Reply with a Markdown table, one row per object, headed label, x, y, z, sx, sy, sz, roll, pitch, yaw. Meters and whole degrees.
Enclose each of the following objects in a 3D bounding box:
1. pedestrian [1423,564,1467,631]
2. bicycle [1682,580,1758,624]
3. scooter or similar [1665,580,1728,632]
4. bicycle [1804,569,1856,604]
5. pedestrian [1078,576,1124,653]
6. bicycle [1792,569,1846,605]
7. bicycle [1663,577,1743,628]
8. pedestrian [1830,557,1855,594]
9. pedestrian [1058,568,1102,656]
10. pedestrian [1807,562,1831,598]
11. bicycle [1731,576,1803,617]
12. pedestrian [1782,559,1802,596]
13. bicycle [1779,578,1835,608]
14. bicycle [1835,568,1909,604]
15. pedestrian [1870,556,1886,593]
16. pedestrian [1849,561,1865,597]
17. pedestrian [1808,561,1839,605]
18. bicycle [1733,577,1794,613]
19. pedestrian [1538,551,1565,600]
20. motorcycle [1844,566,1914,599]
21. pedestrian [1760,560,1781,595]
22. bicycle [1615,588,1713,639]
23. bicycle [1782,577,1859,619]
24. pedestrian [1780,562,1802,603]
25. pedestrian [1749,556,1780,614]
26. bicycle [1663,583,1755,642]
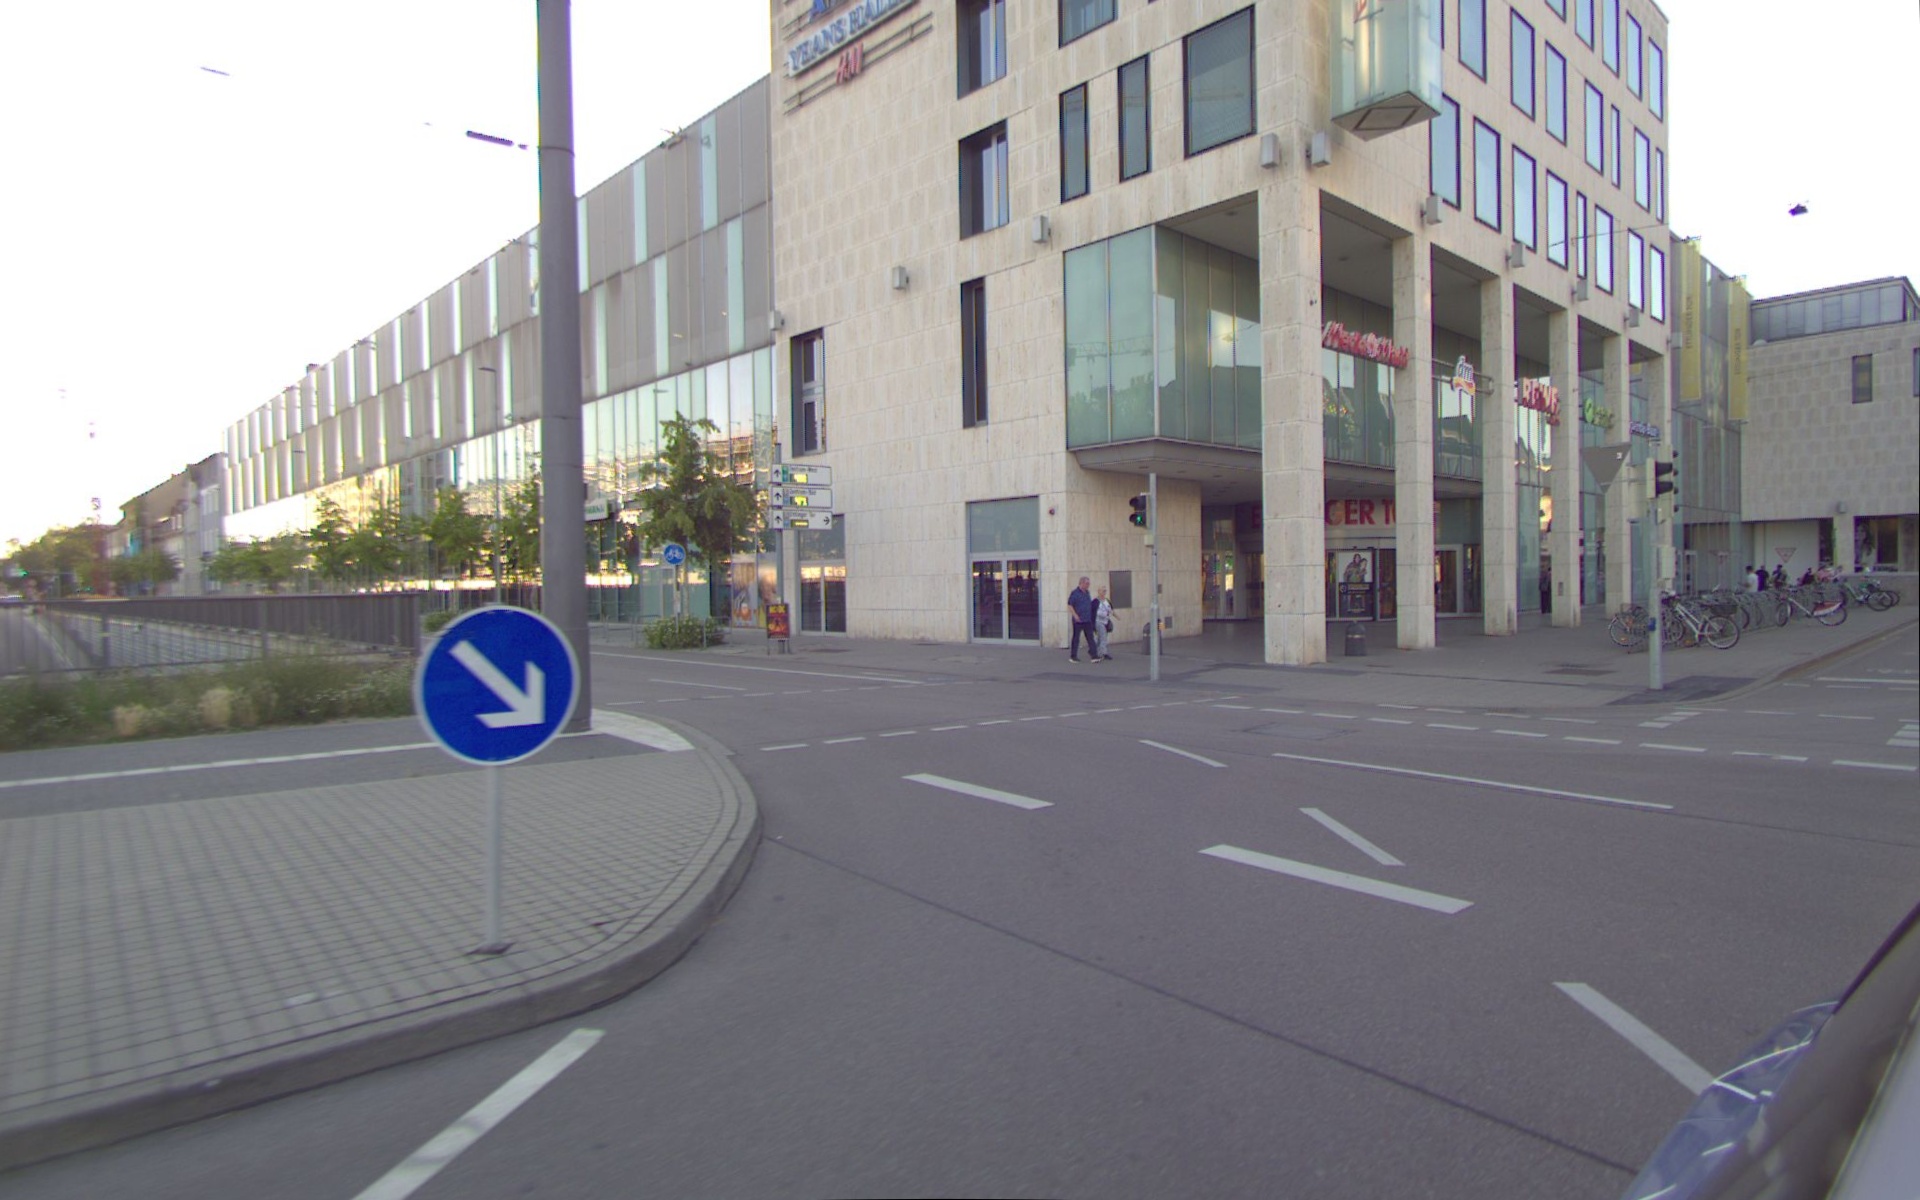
| label | x | y | z | sx | sy | sz | roll | pitch | yaw |
| --- | --- | --- | --- | --- | --- | --- | --- | --- | --- |
| pedestrian | 12.295 | -0.068 | 25.654 | 0.696 | 1.659 | 0.792 | -2 | 1 | -42 |
| bicycle | 20.298 | 0.058 | 27.037 | 0.543 | 1.120 | 1.515 | -2 | -1 | -44 |
| scooter or similar | 17.892 | 0.129 | 24.601 | 1.194 | 1.214 | 0.485 | 1 | 2 | 45 |
| bicycle | 31.605 | -0.490 | 36.776 | 0.509 | 1.178 | 1.343 | -2 | -1 | -42 |
| pedestrian | 2.942 | 0.284 | 21.065 | 0.664 | 1.565 | 0.716 | 0 | 1 | 37 |
| bicycle | 30.063 | -0.440 | 35.426 | 0.509 | 1.178 | 1.343 | -2 | -1 | -42 |
| bicycle | 19.082 | 0.083 | 26.012 | 0.607 | 1.243 | 1.516 | -2 | -1 | -42 |
| pedestrian | 42.856 | -1.211 | 49.154 | 0.925 | 1.765 | 0.793 | -2 | 1 | -39 |
| pedestrian | 2.428 | 0.235 | 20.484 | 0.664 | 1.746 | 0.582 | 0 | 1 | 37 |
| pedestrian | 42.746 | -0.990 | 50.364 | 0.645 | 1.765 | 0.793 | -2 | 1 | -39 |
| bicycle | 23.707 | -0.093 | 29.734 | 0.570 | 1.138 | 1.518 | -2 | -1 | -37 |
| pedestrian | 39.460 | -1.076 | 48.012 | 0.696 | 1.717 | 0.808 | 0 | 1 | 43 |
| bicycle | 28.210 | -0.234 | 33.707 | 0.509 | 0.944 | 1.343 | -2 | -1 | -42 |
| bicycle | 31.800 | -0.480 | 35.304 | 0.458 | 1.161 | 1.836 | -2 | -1 | -40 |
| pedestrian | 45.207 | -1.259 | 49.825 | 0.484 | 1.765 | 0.516 | -2 | 1 | -39 |
| pedestrian | 44.014 | -1.040 | 49.663 | 0.645 | 1.765 | 0.494 | -2 | 1 | -39 |
| pedestrian | 32.675 | -0.653 | 38.305 | 0.801 | 1.663 | 0.640 | 0 | 1 | 30 |
| bicycle | 25.307 | -0.148 | 31.902 | 1.439 | 1.078 | 0.572 | -3 | -1 | 38 |
| pedestrian | 20.751 | -0.859 | 35.512 | 0.696 | 1.672 | 0.629 | -2 | 1 | -40 |
| motorcycle | 35.745 | -0.681 | 39.392 | 0.473 | 1.239 | 2.003 | -2 | 2 | -44 |
| pedestrian | 38.993 | -1.079 | 48.666 | 0.738 | 1.668 | 0.808 | 0 | 1 | 43 |
| bicycle | 15.869 | 0.288 | 22.834 | 1.767 | 1.092 | 0.475 | 1 | 2 | 42 |
| bicycle | 23.554 | -0.049 | 27.722 | 0.458 | 1.077 | 1.517 | -2 | -1 | -40 |
| pedestrian | 36.960 | -0.778 | 44.996 | 0.798 | 1.802 | 0.619 | -2 | 1 | -39 |
| pedestrian | 24.465 | -0.464 | 30.768 | 0.705 | 1.713 | 0.620 | 0 | 1 | 41 |
| bicycle | 16.020 | 0.246 | 21.670 | 0.538 | 1.198 | 1.484 | -1 | 2 | -36 |
